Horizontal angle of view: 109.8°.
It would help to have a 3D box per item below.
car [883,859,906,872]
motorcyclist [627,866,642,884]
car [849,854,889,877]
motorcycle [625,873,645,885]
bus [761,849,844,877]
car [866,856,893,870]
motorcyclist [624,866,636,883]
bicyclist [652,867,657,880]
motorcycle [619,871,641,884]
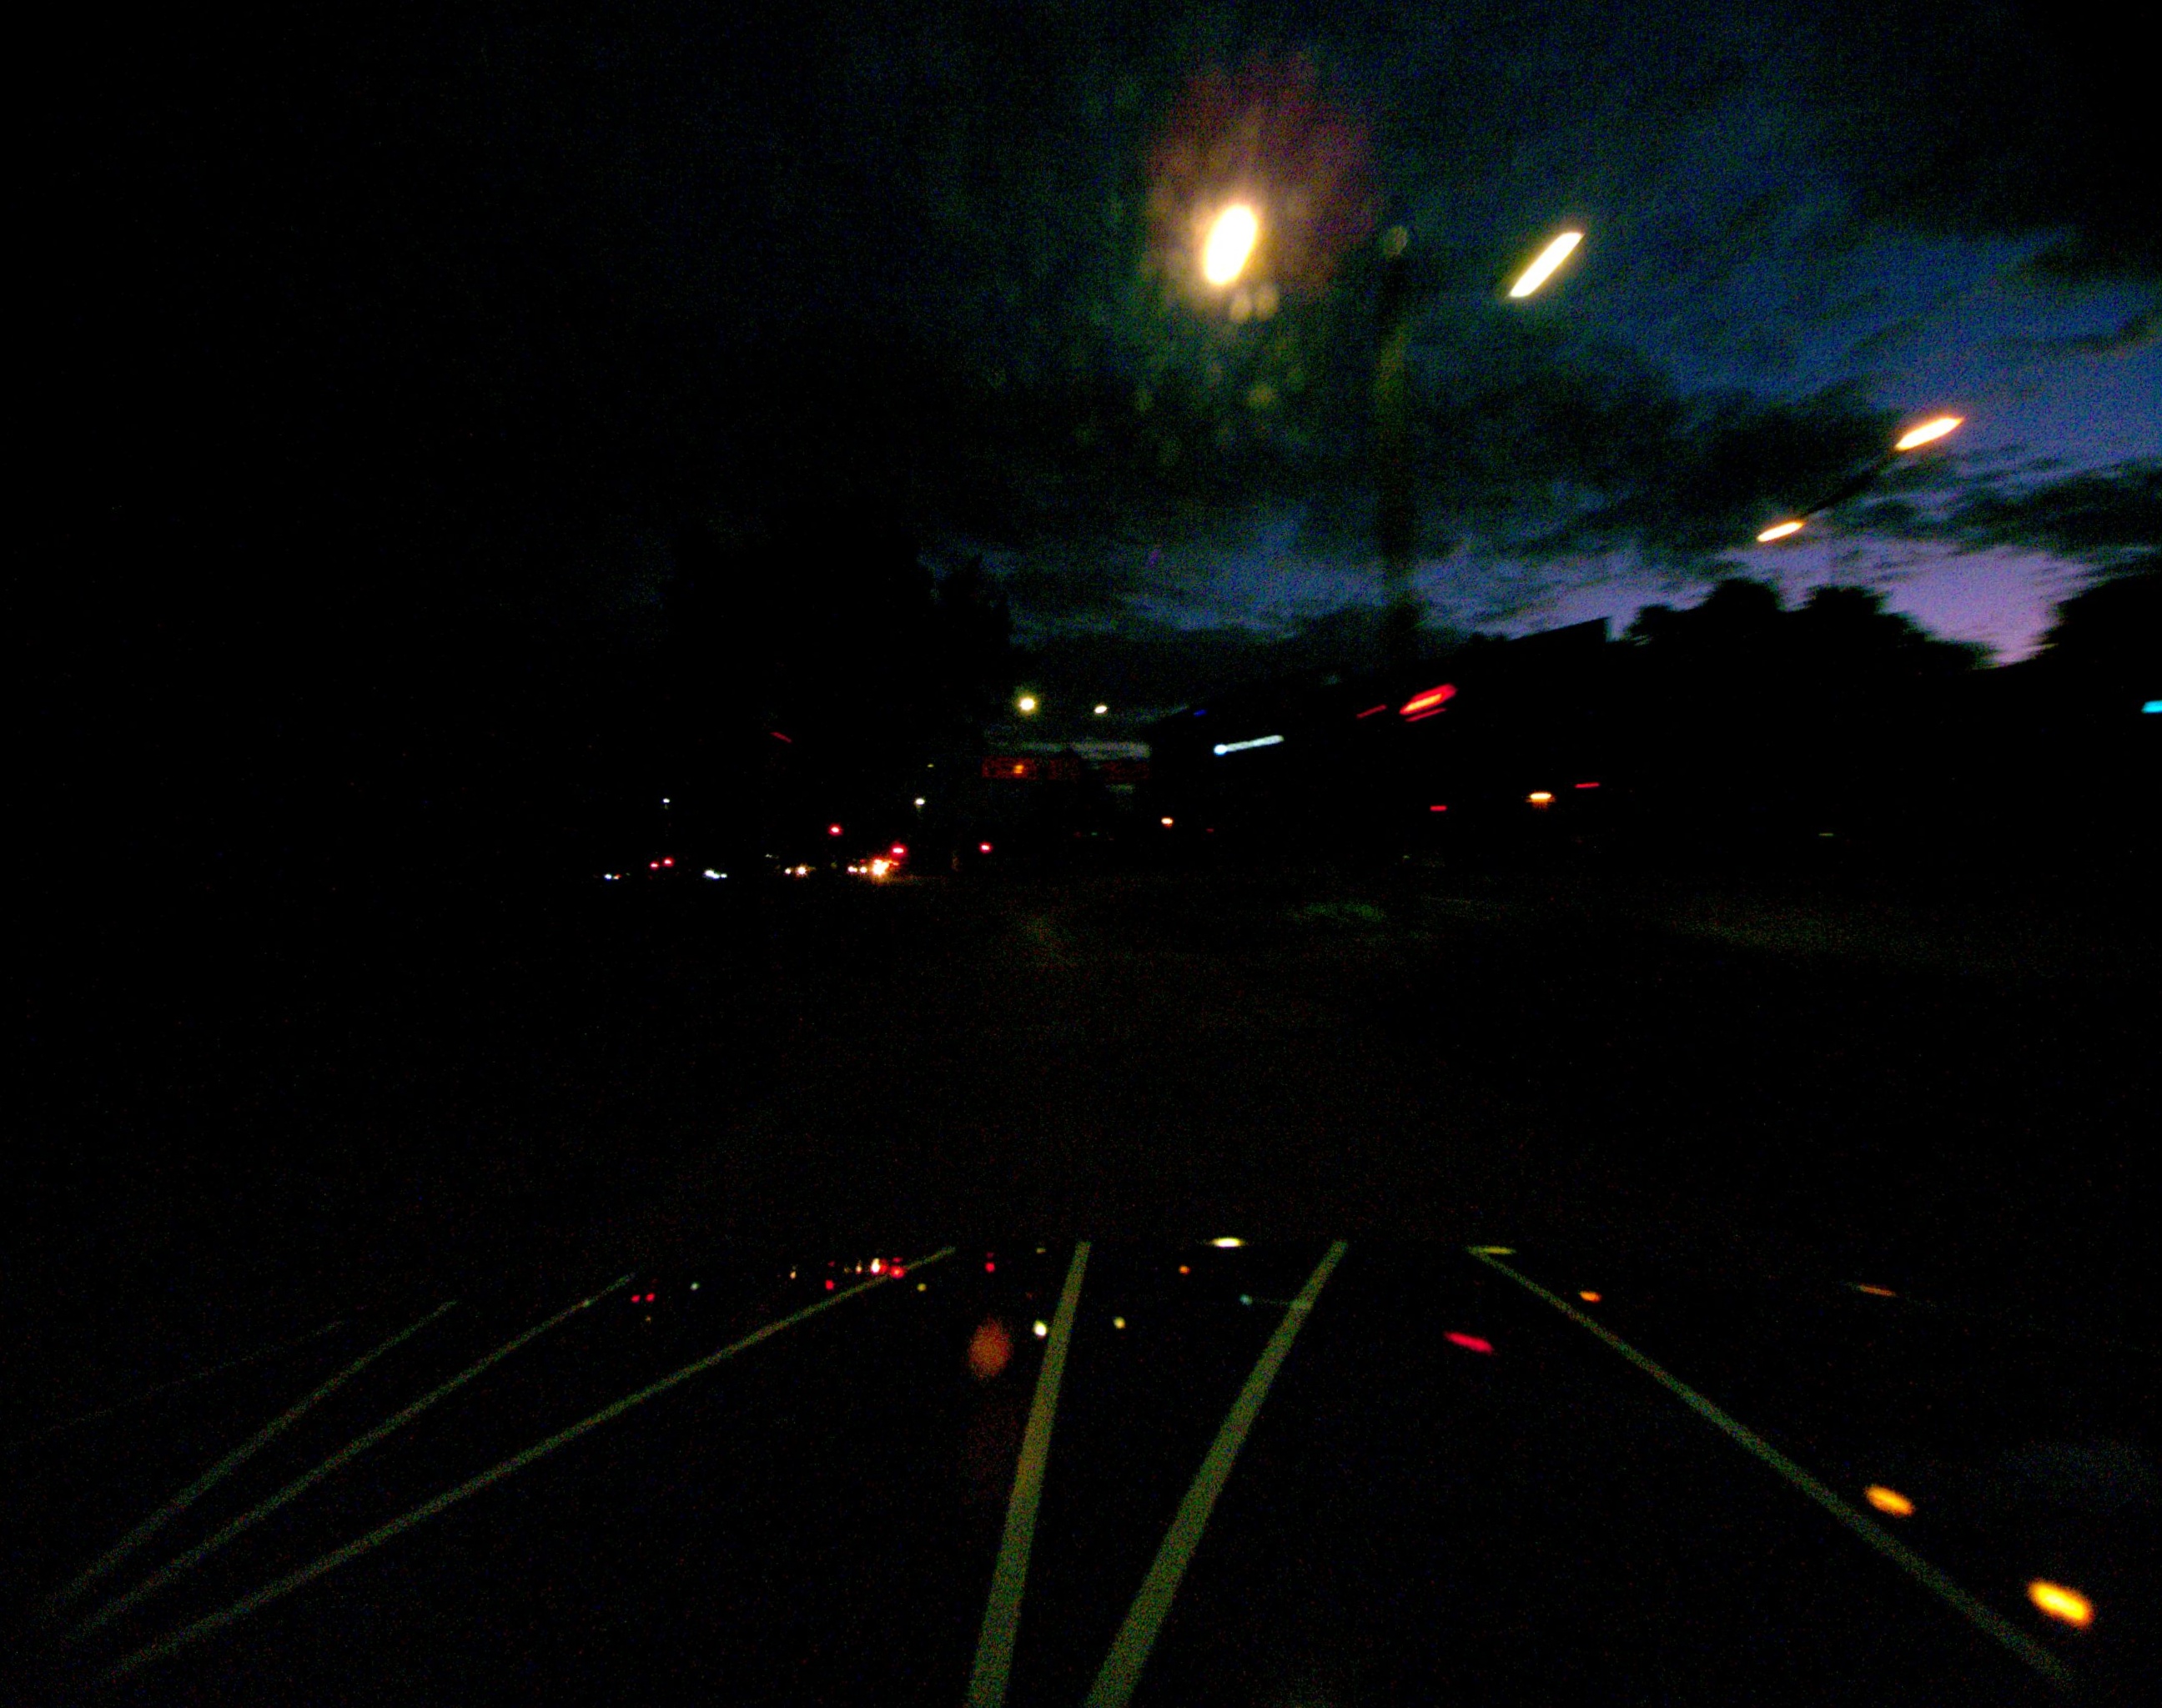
[{"bbox_3d":[-22.912,1.377,93.320,1.777,1.438,3.773,-2,-1,-28],"label":"car"},{"bbox_3d":[-47.718,2.275,81.188,0.914,1.799,0.871,1,6,33],"label":"motorcyclist"},{"bbox_3d":[-16.049,0.876,57.373,1.674,1.643,4.400,-2,0,-32],"label":"car"},{"bbox_3d":[-47.689,2.664,81.221,0.721,1.028,1.579,1,5,33],"label":"motorcycle"},{"bbox_3d":[-40.934,1.338,112.338,2.609,3.766,12.301,-4,-2,32],"label":"bus"},{"bbox_3d":[-22.905,1.070,86.206,1.880,1.389,4.828,-2,-1,-29],"label":"car"},{"bbox_3d":[-48.523,2.204,81.787,0.682,1.750,0.791,0,4,28],"label":"motorcyclist"},{"bbox_3d":[-59.466,2.719,105.932,0.605,1.641,0.998,-2,-1,-32],"label":"bicyclist"},{"bbox_3d":[-48.524,2.524,81.777,0.847,1.175,1.824,0,4,28],"label":"motorcycle"}]
